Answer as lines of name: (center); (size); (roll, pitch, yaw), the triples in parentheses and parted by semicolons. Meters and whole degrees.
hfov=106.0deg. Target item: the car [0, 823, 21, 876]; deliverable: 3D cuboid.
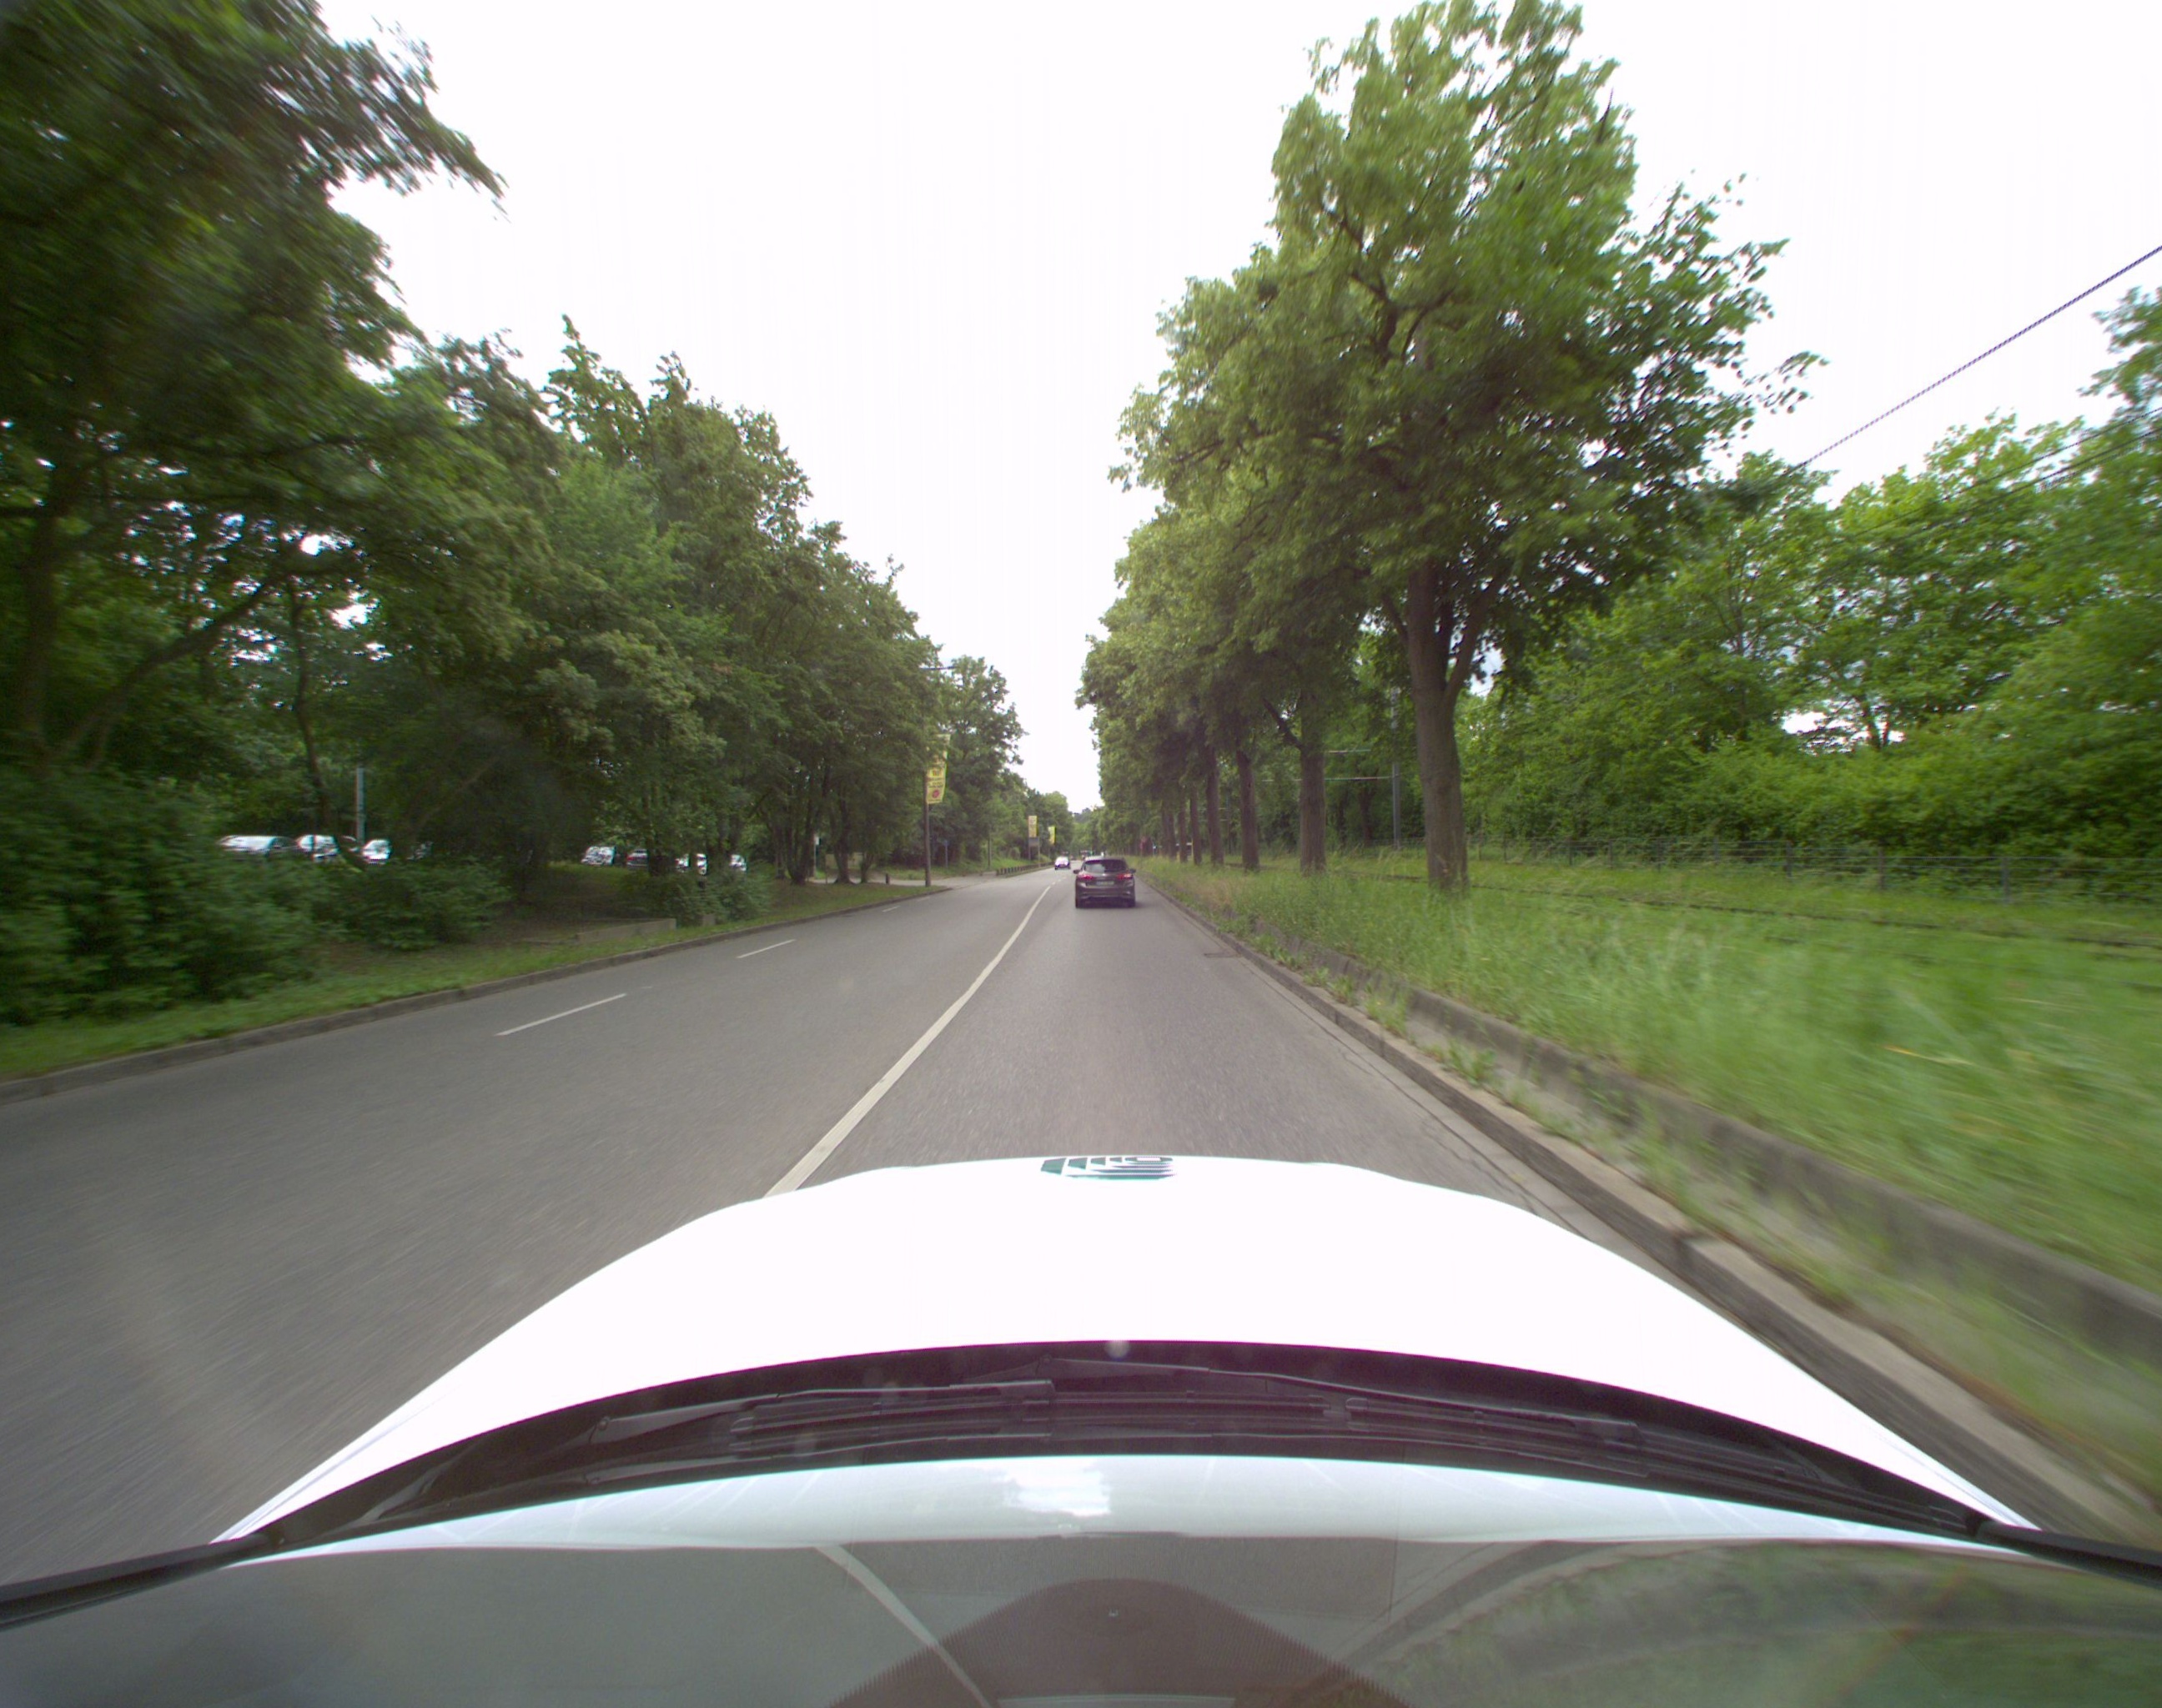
car: (-30.689, -0.145, 21.397); (1.652, 1.486, 3.970); (0, 0, -22)

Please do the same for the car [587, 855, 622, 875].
car: (-29.257, 0.662, 50.069); (1.267, 1.212, 3.050); (2, -1, -20)

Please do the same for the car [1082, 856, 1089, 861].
car: (1.258, 1.308, 241.586); (1.562, 1.441, 3.538); (0, 0, -11)

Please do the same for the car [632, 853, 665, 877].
car: (-27.050, 0.680, 50.973); (1.375, 1.402, 3.050); (2, -1, -20)

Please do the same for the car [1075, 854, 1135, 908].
car: (0.717, 0.779, 24.900); (1.724, 1.537, 3.552); (0, 0, 1)

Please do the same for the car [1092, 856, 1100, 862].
car: (3.815, 1.353, 211.368); (1.560, 1.441, 3.541); (0, 0, -8)

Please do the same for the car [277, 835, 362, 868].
car: (-34.393, -0.097, 36.879); (1.540, 1.415, 3.356); (2, -1, -20)

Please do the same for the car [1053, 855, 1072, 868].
car: (-2.101, 0.888, 94.393); (1.708, 1.428, 4.202); (-3, 0, 5)

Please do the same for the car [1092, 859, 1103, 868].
car: (2.699, 1.454, 131.824); (1.554, 1.441, 3.557); (0, 0, 5)

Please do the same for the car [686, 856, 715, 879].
car: (-24.374, 0.832, 52.272); (1.375, 1.402, 3.050); (2, -1, -20)

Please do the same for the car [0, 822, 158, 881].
car: (-27.906, -0.056, 22.442); (1.652, 1.486, 3.970); (0, 0, -22)
